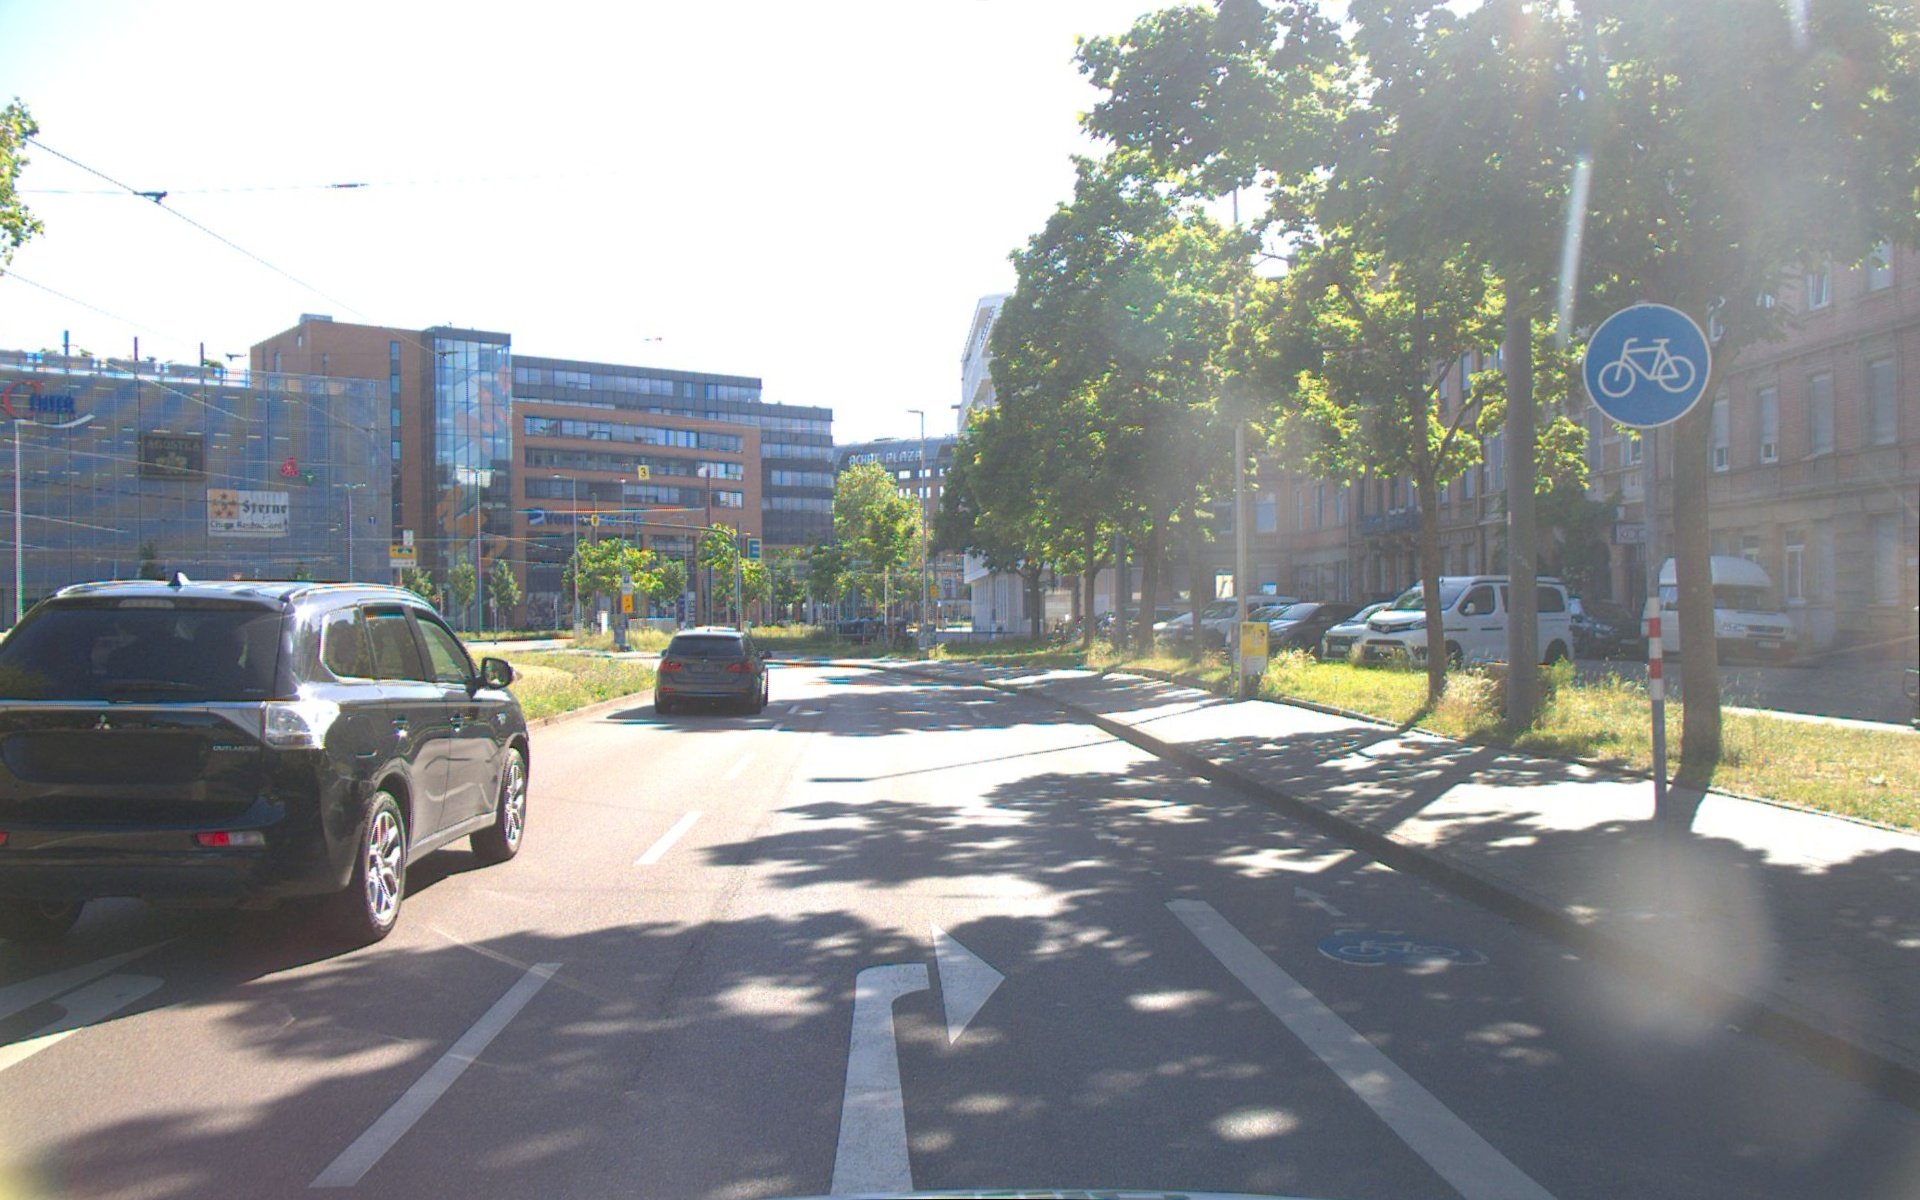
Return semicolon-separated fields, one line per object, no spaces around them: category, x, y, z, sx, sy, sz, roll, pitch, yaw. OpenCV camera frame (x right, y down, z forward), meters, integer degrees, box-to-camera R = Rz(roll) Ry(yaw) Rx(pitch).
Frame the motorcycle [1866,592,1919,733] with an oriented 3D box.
motorcycle;10.775;0.656;18.416;0.838;1.445;2.252;-2;0;37

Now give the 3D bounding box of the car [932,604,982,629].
car;-0.240;1.403;142.773;3.902;2.049;2.002;-1;-1;12

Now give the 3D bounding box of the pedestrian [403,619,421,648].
pedestrian;-33.634;2.066;101.547;0.881;1.737;0.702;0;-1;-42

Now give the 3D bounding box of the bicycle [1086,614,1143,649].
bicycle;5.666;1.140;60.721;1.906;1.201;0.899;-2;-1;-4

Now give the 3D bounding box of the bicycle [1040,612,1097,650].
bicycle;4.152;1.175;63.209;2.054;1.389;0.786;-1;-1;-9

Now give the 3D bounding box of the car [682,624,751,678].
car;-7.005;1.475;47.377;1.604;1.448;3.768;2;-3;-14

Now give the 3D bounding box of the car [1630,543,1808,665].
car;17.858;0.079;39.177;1.953;2.630;4.511;-2;0;-2

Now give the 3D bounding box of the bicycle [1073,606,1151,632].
bicycle;7.291;0.924;80.071;2.624;1.146;5.212;-1;-1;-8

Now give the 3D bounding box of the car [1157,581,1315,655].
car;8.656;0.563;51.726;4.830;2.048;2.073;-3;-1;-38

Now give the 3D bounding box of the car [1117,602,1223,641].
car;9.121;0.917;71.697;4.418;1.593;1.914;-1;-1;-35

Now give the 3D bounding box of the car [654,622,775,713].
car;-4.251;1.203;29.216;1.700;1.448;4.463;1;-3;-4

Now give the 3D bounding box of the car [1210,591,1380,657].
car;9.932;0.697;48.958;4.820;1.676;2.077;-3;-1;-33

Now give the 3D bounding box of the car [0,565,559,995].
car;-3.558;0.761;8.920;1.799;1.712;4.640;0;-1;-2

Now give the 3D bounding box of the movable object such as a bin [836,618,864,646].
movable object such as a bin;-5.723;1.676;86.356;1.046;1.423;1.304;-1;-1;17

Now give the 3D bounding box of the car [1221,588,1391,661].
car;9.550;0.676;45.613;4.457;1.757;1.977;-3;-1;-33

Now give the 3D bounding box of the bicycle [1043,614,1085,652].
bicycle;3.813;1.196;60.696;0.755;1.312;1.591;-2;0;36

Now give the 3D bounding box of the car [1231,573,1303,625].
car;15.132;-0.065;81.758;2.302;2.398;5.185;-2;0;-2

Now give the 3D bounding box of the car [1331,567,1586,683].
car;10.099;0.480;33.380;5.123;2.048;2.077;-3;-1;-33

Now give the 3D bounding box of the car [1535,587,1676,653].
car;17.742;0.546;45.693;1.953;1.721;4.510;-1;-1;-2

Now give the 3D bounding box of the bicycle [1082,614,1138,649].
bicycle;5.592;1.157;61.641;1.919;1.212;0.841;-2;-1;-4

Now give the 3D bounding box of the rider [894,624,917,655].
rider;-2.197;1.589;67.175;0.491;1.196;1.677;-1;0;14

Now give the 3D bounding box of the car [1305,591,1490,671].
car;9.548;0.660;35.992;3.988;1.504;1.789;-3;-1;-37

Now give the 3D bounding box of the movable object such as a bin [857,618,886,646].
movable object such as a bin;-4.609;1.645;86.290;1.084;1.423;1.322;-1;-1;17

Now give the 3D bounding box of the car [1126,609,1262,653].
car;8.184;1.067;57.663;4.702;1.404;2.019;-1;-1;-37
